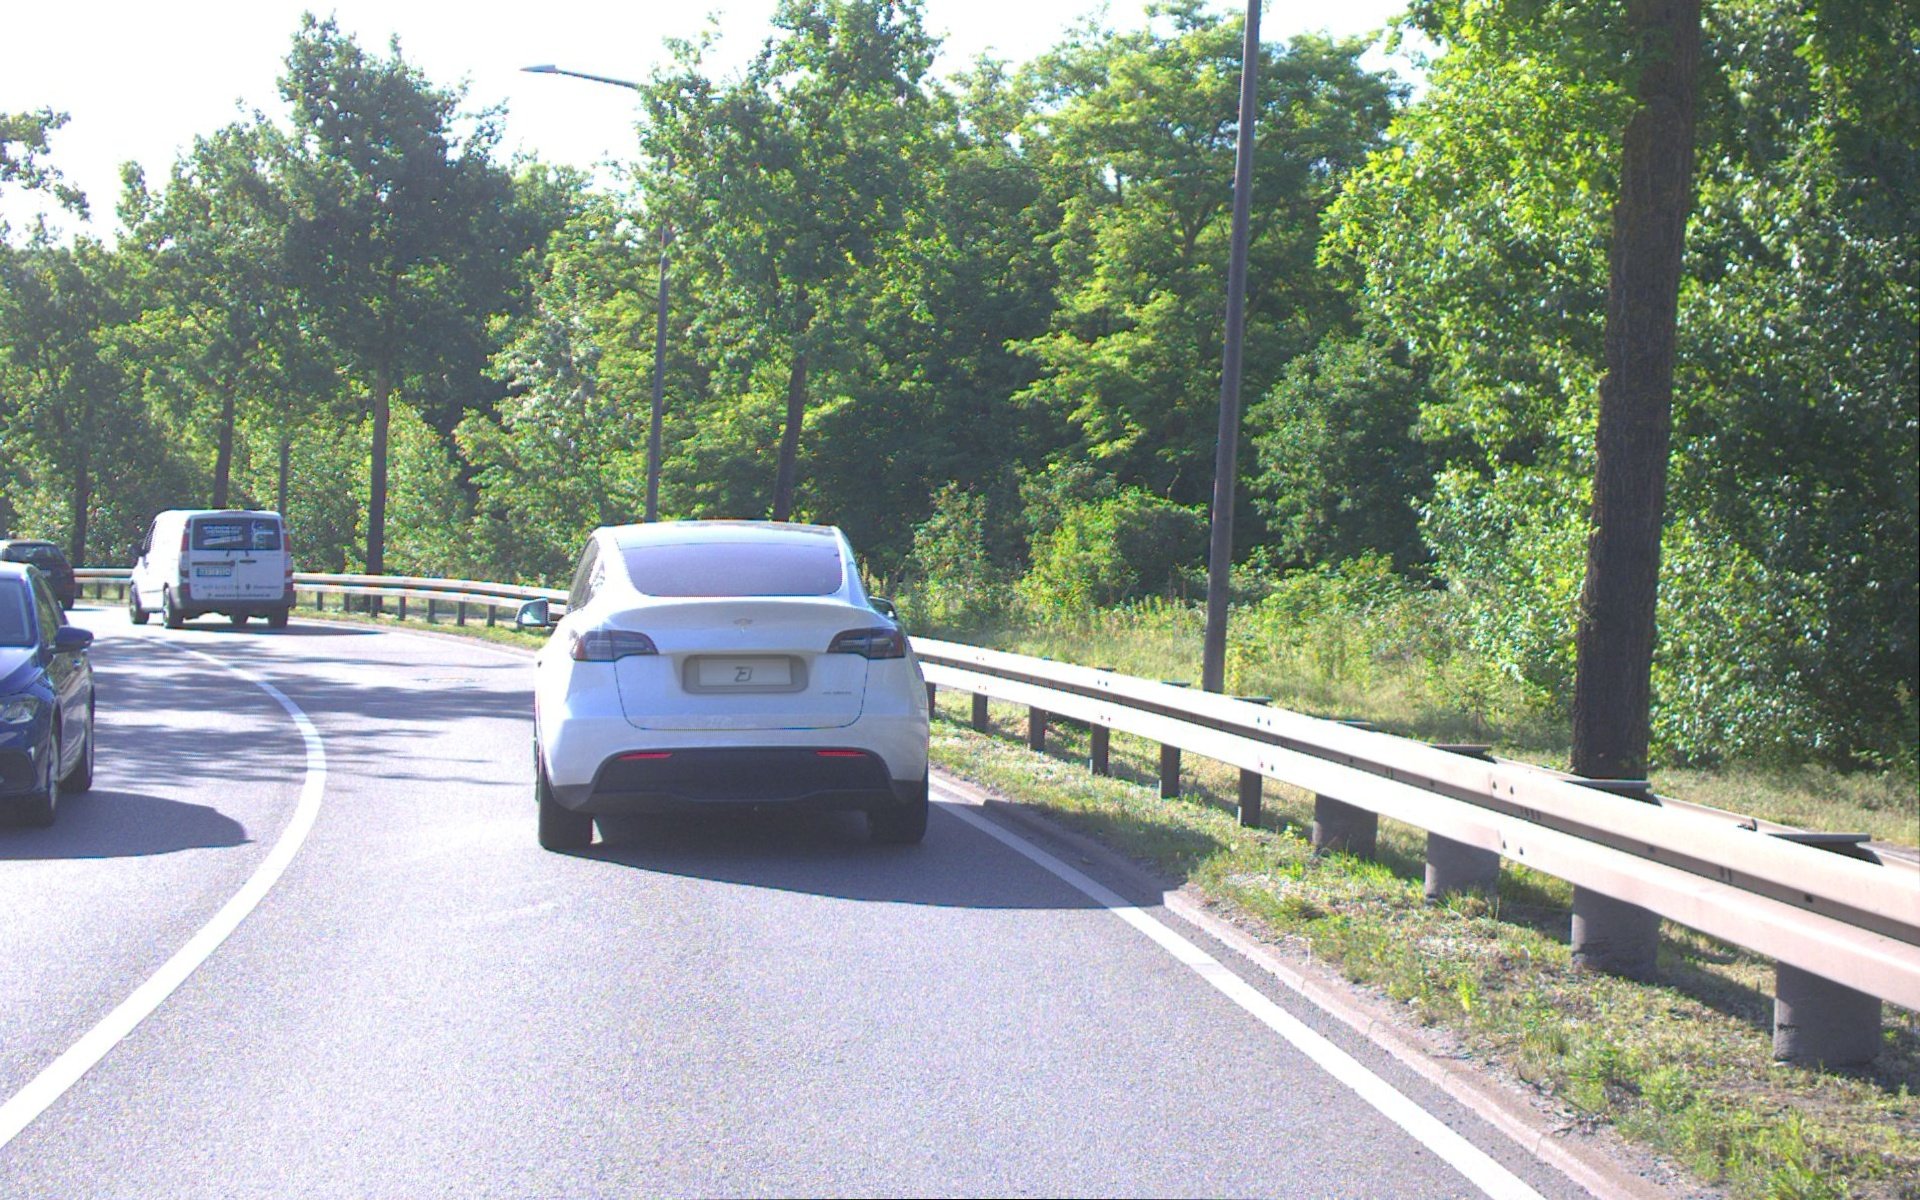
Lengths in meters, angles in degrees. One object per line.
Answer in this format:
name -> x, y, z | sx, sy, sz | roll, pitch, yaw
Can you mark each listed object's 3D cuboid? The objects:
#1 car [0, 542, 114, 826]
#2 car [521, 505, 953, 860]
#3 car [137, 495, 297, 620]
car -> -5.823, 0.397, 19.388 | 1.792, 1.426, 3.828 | 0, 1, -10
car -> -1.283, 0.350, 17.973 | 1.985, 1.632, 4.064 | 1, 1, -7
car -> -12.047, -0.714, 55.576 | 2.004, 1.934, 4.469 | 0, 1, -19
